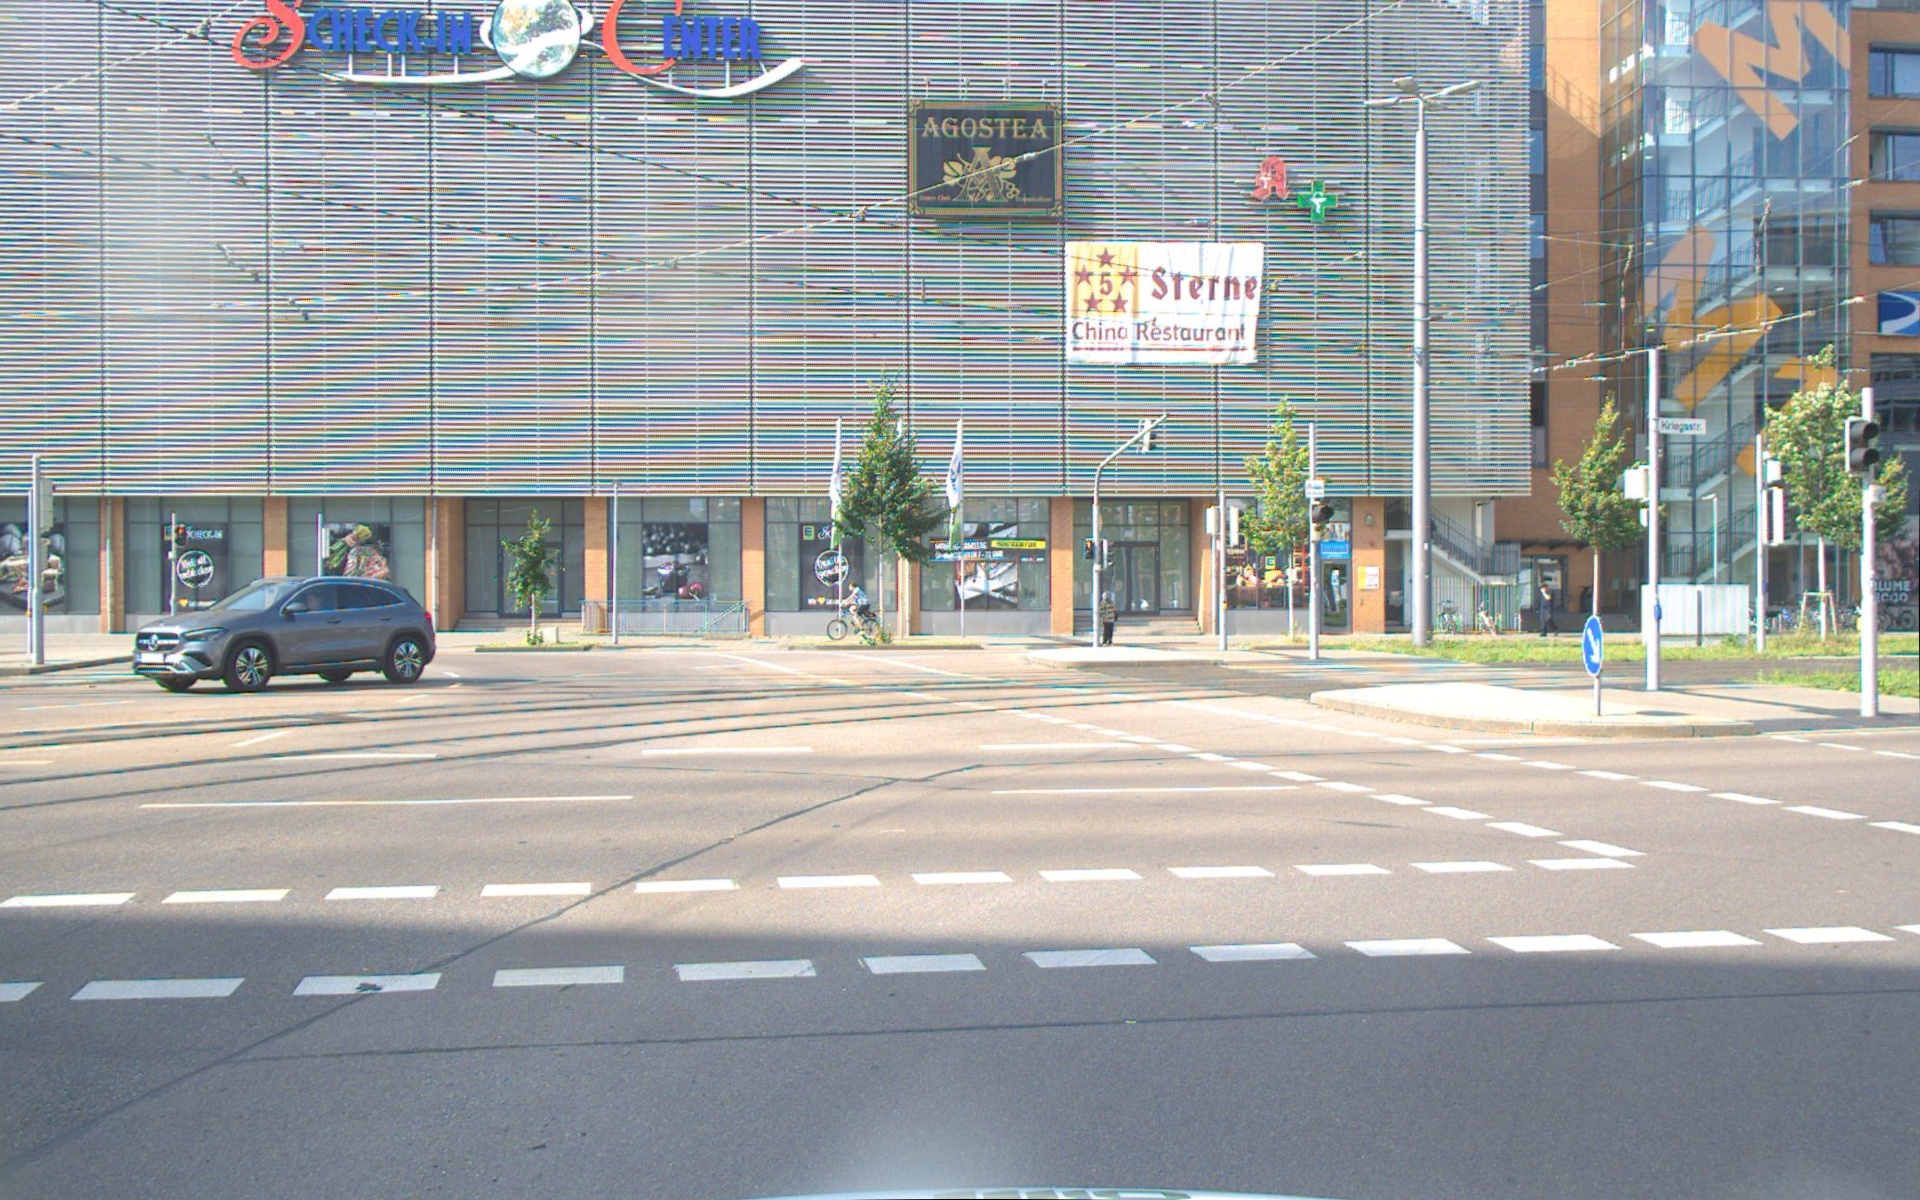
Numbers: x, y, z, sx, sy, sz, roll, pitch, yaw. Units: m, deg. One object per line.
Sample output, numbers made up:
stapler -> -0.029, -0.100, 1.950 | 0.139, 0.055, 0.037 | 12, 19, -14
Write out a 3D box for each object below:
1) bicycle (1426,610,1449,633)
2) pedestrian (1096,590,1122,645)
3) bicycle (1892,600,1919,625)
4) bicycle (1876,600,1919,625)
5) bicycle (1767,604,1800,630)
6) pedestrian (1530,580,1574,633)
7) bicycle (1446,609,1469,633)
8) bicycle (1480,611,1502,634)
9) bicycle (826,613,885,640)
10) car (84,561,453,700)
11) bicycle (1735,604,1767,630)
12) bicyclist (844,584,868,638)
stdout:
bicycle -> 16.214, 0.721, 56.150 | 0.441, 0.765, 1.006 | 0, 0, -2
pedestrian -> 4.339, 0.508, 48.250 | 0.577, 1.607, 0.762 | 0, 0, -8
bicycle -> 36.481, 0.490, 62.989 | 0.561, 0.937, 2.051 | 0, 0, -9
bicycle -> 35.775, 0.476, 62.840 | 0.561, 0.937, 2.051 | 0, 0, -9
bicycle -> 29.348, 0.588, 58.935 | 0.251, 0.845, 1.466 | 1, 2, -7
pedestrian -> 19.934, 0.221, 55.723 | 1.149, 1.749, 0.819 | 0, 0, -4
bicycle -> 16.872, 0.711, 56.126 | 0.441, 0.765, 1.006 | 0, 0, -2
bicycle -> 18.034, 0.749, 56.190 | 0.352, 0.765, 1.024 | 0, 0, -2
bicycle -> -3.243, 0.813, 51.457 | 1.826, 0.793, 0.582 | 1, -1, -4
car -> -9.905, 0.430, 24.123 | 1.912, 1.814, 4.807 | 1, -1, 29
bicycle -> 28.024, 0.598, 58.619 | 0.251, 0.902, 1.465 | 1, -1, -7
bicyclist -> -3.227, 0.340, 51.447 | 0.698, 1.658, 0.568 | 1, -1, -6
